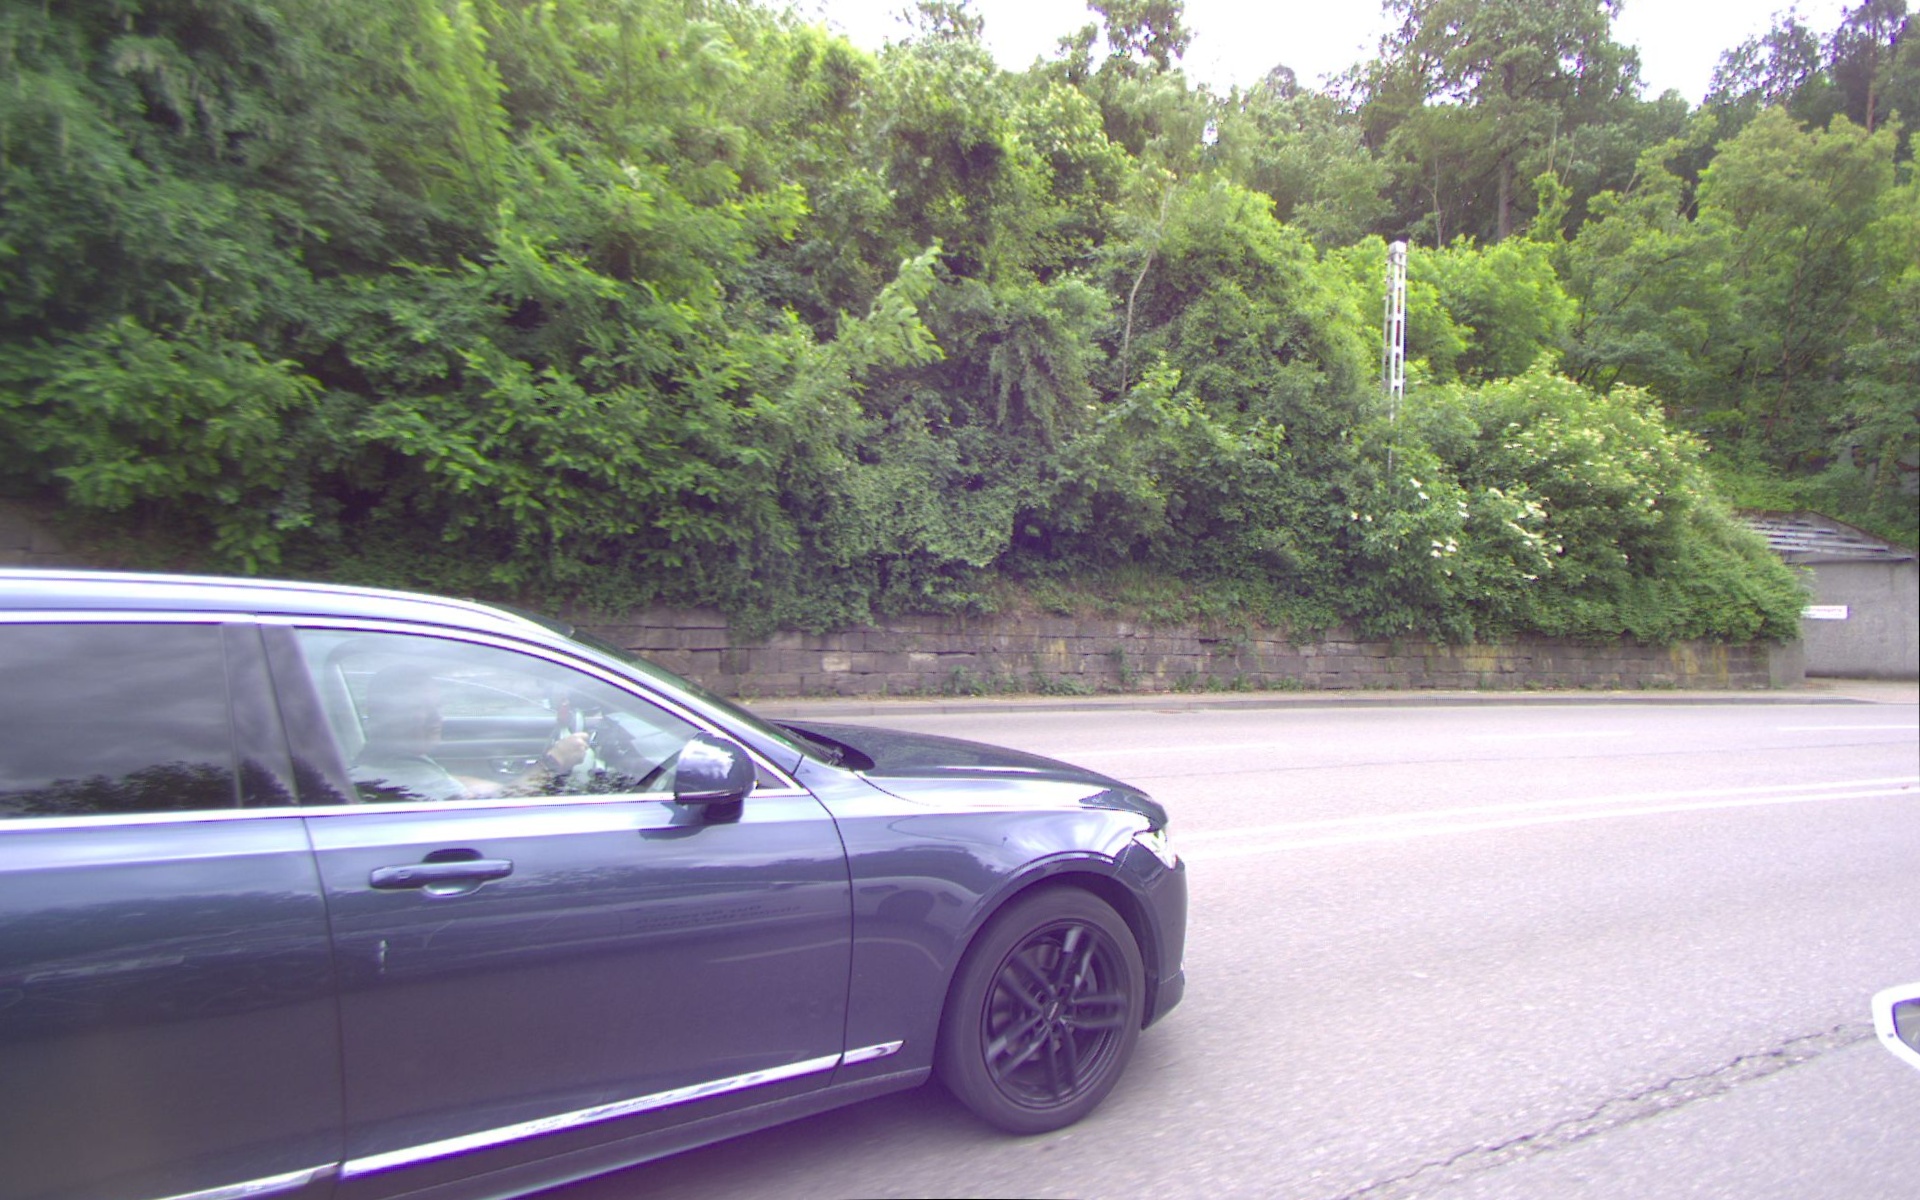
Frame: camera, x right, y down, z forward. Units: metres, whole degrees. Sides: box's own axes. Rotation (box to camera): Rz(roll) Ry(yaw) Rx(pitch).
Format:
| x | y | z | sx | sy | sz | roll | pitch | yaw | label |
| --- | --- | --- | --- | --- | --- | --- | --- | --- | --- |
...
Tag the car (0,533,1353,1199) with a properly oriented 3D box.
| x | y | z | sx | sy | sz | roll | pitch | yaw | label |
| --- | --- | --- | --- | --- | --- | --- | --- | --- | --- |
| -1.356 | 0.720 | 2.656 | 4.976 | 1.597 | 1.922 | 4 | 0 | -34 | car |
